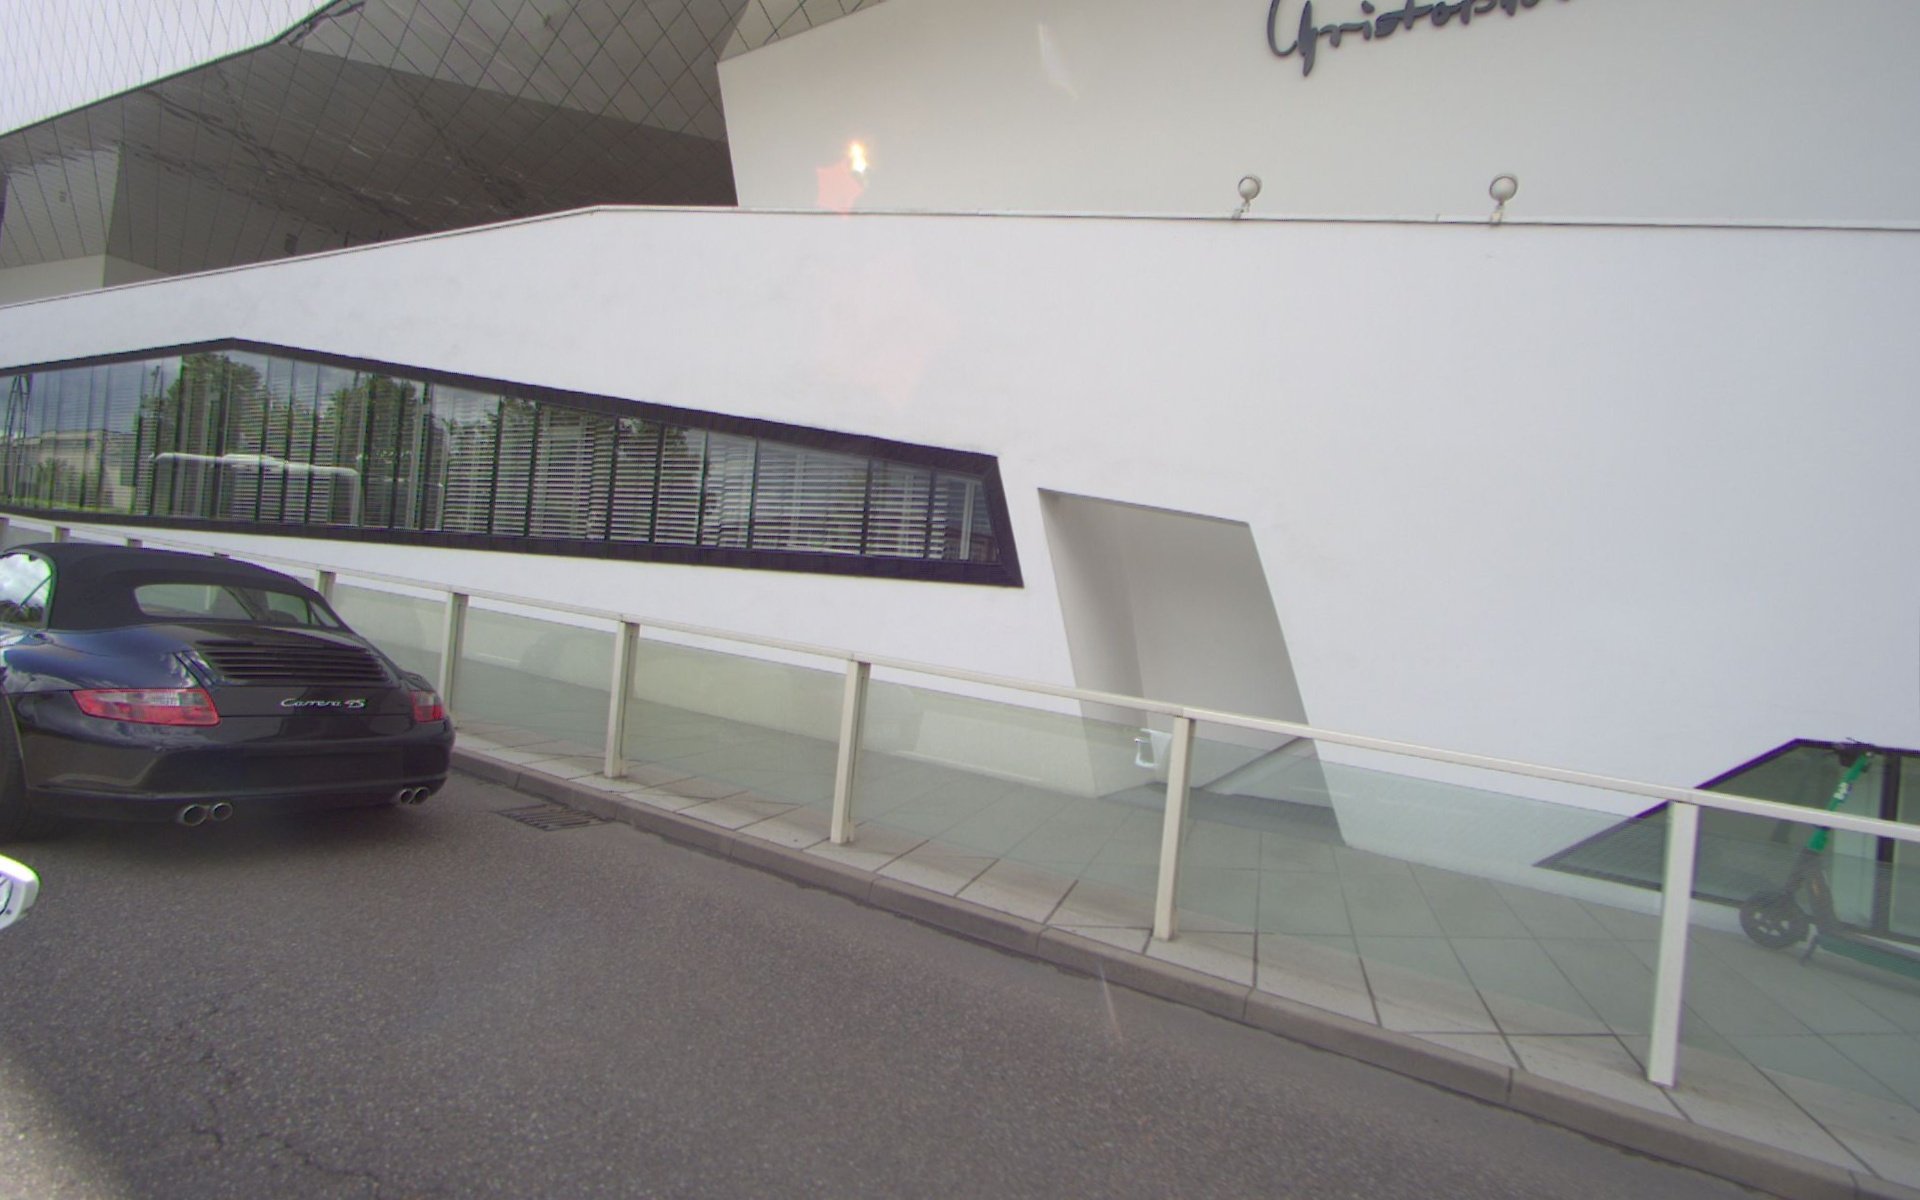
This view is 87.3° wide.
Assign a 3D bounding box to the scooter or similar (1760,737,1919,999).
[{"bbox_3d":[5.608,1.523,5.354,1.920,1.258,0.707,6,0,31],"label":"scooter or similar"}]

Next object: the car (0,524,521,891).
[{"bbox_3d":[-4.523,0.346,5.577,4.019,1.290,1.723,6,-1,31],"label":"car"}]
